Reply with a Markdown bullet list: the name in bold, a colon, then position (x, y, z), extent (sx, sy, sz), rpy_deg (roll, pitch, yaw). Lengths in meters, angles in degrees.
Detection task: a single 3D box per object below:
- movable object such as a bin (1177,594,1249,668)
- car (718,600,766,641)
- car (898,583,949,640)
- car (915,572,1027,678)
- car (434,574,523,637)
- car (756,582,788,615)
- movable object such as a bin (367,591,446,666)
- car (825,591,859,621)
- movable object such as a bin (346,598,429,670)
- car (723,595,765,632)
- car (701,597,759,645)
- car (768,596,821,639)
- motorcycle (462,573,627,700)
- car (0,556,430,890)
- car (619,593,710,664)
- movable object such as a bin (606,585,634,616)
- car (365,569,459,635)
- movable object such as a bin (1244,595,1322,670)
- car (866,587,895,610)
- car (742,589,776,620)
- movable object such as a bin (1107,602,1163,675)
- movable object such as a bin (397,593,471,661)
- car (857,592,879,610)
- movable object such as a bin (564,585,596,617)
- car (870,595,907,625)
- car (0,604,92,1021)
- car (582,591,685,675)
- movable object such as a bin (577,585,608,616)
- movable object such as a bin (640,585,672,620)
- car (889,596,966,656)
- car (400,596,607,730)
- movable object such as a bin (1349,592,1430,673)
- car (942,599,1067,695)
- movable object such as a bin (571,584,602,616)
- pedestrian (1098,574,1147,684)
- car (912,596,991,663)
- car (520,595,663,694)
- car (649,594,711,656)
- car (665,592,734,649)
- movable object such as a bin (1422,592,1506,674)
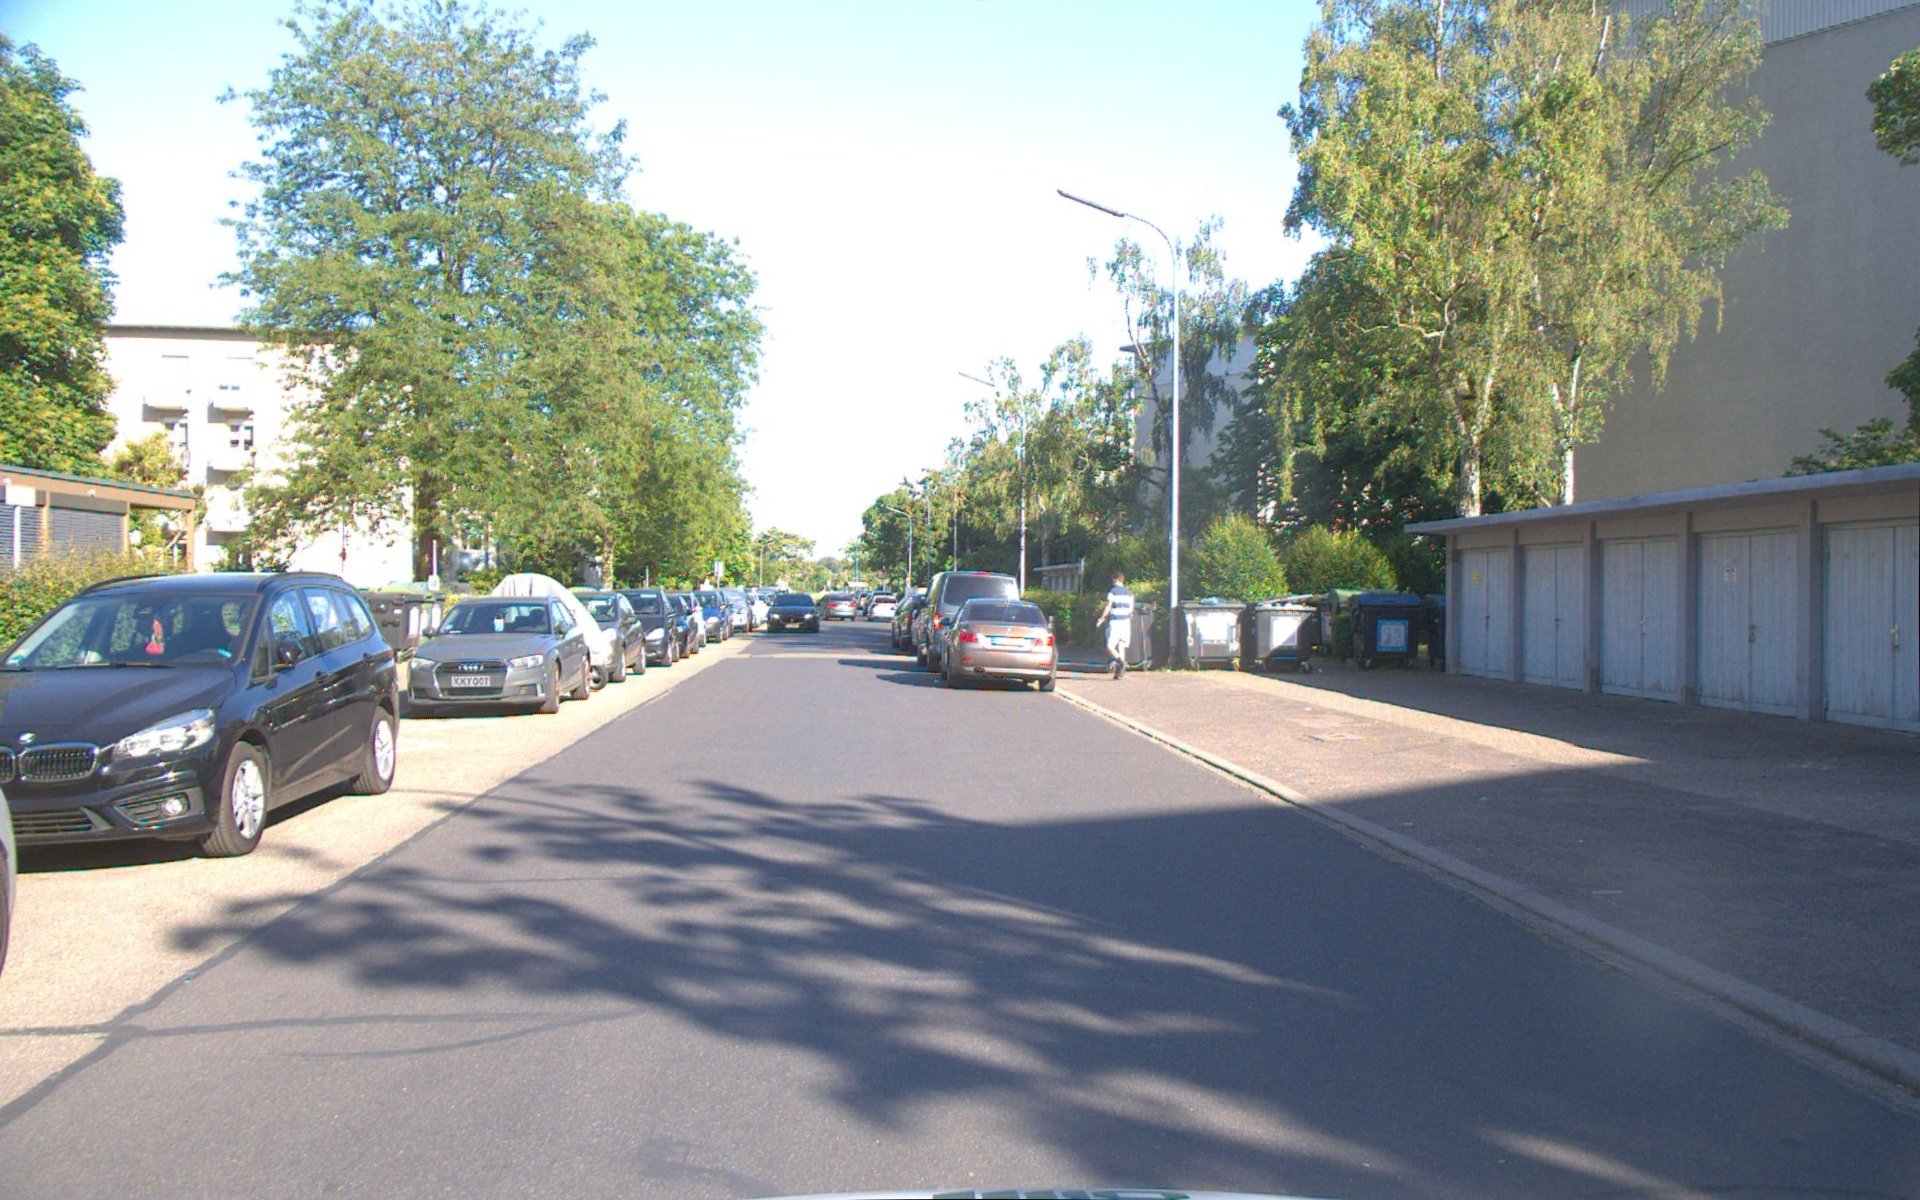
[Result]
- **movable object such as a bin**: position (4.823, 0.582, 31.643), extent (1.199, 1.389, 1.133), rpy_deg (0, 0, -1)
- **car**: position (-8.909, 0.821, 67.703), extent (1.629, 1.539, 3.943), rpy_deg (-1, 1, -3)
- **car**: position (-1.214, 0.354, 53.686), extent (1.460, 1.748, 2.580), rpy_deg (2, 0, -5)
- **car**: position (0.153, 0.464, 33.877), extent (1.816, 1.968, 4.700), rpy_deg (2, 0, -5)
- **car**: position (-12.614, 0.129, 43.521), extent (1.540, 1.552, 3.995), rpy_deg (1, 0, -6)
- **car**: position (-11.485, -0.118, 101.245), extent (1.819, 1.925, 4.412), rpy_deg (-1, 1, -6)
- **movable object such as a bin**: position (-10.927, 0.557, 32.707), extent (1.154, 1.432, 1.342), rpy_deg (1, 0, -4)
- **car**: position (-6.510, 0.327, 90.824), extent (1.647, 1.540, 4.098), rpy_deg (2, 0, -7)
- **movable object such as a bin**: position (-10.834, 0.636, 31.350), extent (1.154, 1.310, 1.342), rpy_deg (1, 0, -4)
- **car**: position (-9.499, 0.574, 72.483), extent (1.633, 1.539, 3.529), rpy_deg (-1, 1, -11)
- **car**: position (-8.595, 0.748, 62.077), extent (1.866, 1.668, 4.345), rpy_deg (-1, 1, -4)
- **car**: position (-6.194, 0.621, 62.176), extent (1.873, 1.502, 4.566), rpy_deg (-1, 1, -5)
- **motorcycle**: position (-6.166, 0.527, 24.655), extent (2.213, 1.757, 0.931), rpy_deg (-2, 0, -8)
- **car**: position (-4.848, 0.617, 10.619), extent (1.720, 1.664, 4.366), rpy_deg (-2, 1, -4)
- **car**: position (-7.000, 0.637, 39.555), extent (1.720, 1.506, 4.532), rpy_deg (-2, 1, -5)
- **movable object such as a bin**: position (-16.729, 0.019, 81.347), extent (1.112, 1.445, 1.360), rpy_deg (3, 0, -3)
- **car**: position (-14.580, 0.039, 44.171), extent (1.540, 1.669, 3.995), rpy_deg (1, 0, -6)
- **movable object such as a bin**: position (6.112, 0.608, 31.355), extent (1.250, 1.389, 1.133), rpy_deg (0, 0, -1)
- **car**: position (-5.475, -0.123, 113.904), extent (1.870, 1.557, 4.324), rpy_deg (1, 0, -4)
- **car**: position (-10.243, 0.213, 84.510), extent (1.654, 1.532, 3.813), rpy_deg (-1, 1, -6)
- **movable object such as a bin**: position (3.432, 0.735, 32.524), extent (1.004, 1.333, 1.388), rpy_deg (-3, 0, 6)
- **movable object such as a bin**: position (-11.005, 0.555, 34.659), extent (1.154, 1.363, 1.342), rpy_deg (1, 0, -3)
- **car**: position (-8.560, 0.076, 153.935), extent (1.761, 1.589, 3.946), rpy_deg (1, 0, -7)
- **movable object such as a bin**: position (-17.850, 0.023, 77.711), extent (1.154, 1.445, 1.462), rpy_deg (3, 0, -2)
- **car**: position (-3.966, 0.517, 91.492), extent (1.720, 1.540, 4.098), rpy_deg (2, 0, -7)
- **car**: position (-4.164, 0.772, 4.273), extent (1.719, 1.449, 4.208), rpy_deg (-2, 0, -2)
- **car**: position (-6.794, 0.639, 34.734), extent (1.720, 1.601, 3.716), rpy_deg (-2, 1, -6)
- **movable object such as a bin**: position (-17.955, -0.002, 80.791), extent (1.154, 1.445, 1.462), rpy_deg (3, 0, -2)
- **movable object such as a bin**: position (-12.887, 0.097, 70.112), extent (1.113, 1.406, 1.441), rpy_deg (3, 0, -3)
- **car**: position (-0.952, 0.691, 46.219), extent (1.699, 1.516, 4.495), rpy_deg (-1, 1, -7)
- **car**: position (-5.718, 0.719, 21.206), extent (1.720, 1.445, 4.265), rpy_deg (-2, 1, -4)
- **movable object such as a bin**: position (8.373, 0.622, 32.291), extent (1.250, 1.491, 1.133), rpy_deg (0, 4, -1)
- **car**: position (0.674, 0.732, 28.291), extent (1.765, 1.443, 4.633), rpy_deg (1, 0, -3)
- **movable object such as a bin**: position (-17.907, 0.000, 79.271), extent (1.154, 1.445, 1.462), rpy_deg (3, 0, -2)
- **pedestrian**: position (2.900, 0.505, 29.636), extent (0.689, 1.921, 0.872), rpy_deg (-2, 0, -3)
- **car**: position (-0.250, 0.687, 40.728), extent (1.591, 1.516, 4.032), rpy_deg (2, 0, -5)
- **car**: position (-6.307, 0.704, 28.719), extent (1.719, 1.506, 3.957), rpy_deg (-2, 1, -3)
- **car**: position (-7.735, 0.660, 45.907), extent (1.416, 1.601, 3.139), rpy_deg (-2, 1, -5)
- **car**: position (-8.082, 0.601, 51.618), extent (1.719, 1.634, 3.966), rpy_deg (-2, 1, -4)
- **movable object such as a bin**: position (9.751, 0.631, 32.076), extent (1.250, 1.491, 1.133), rpy_deg (0, 4, -1)
